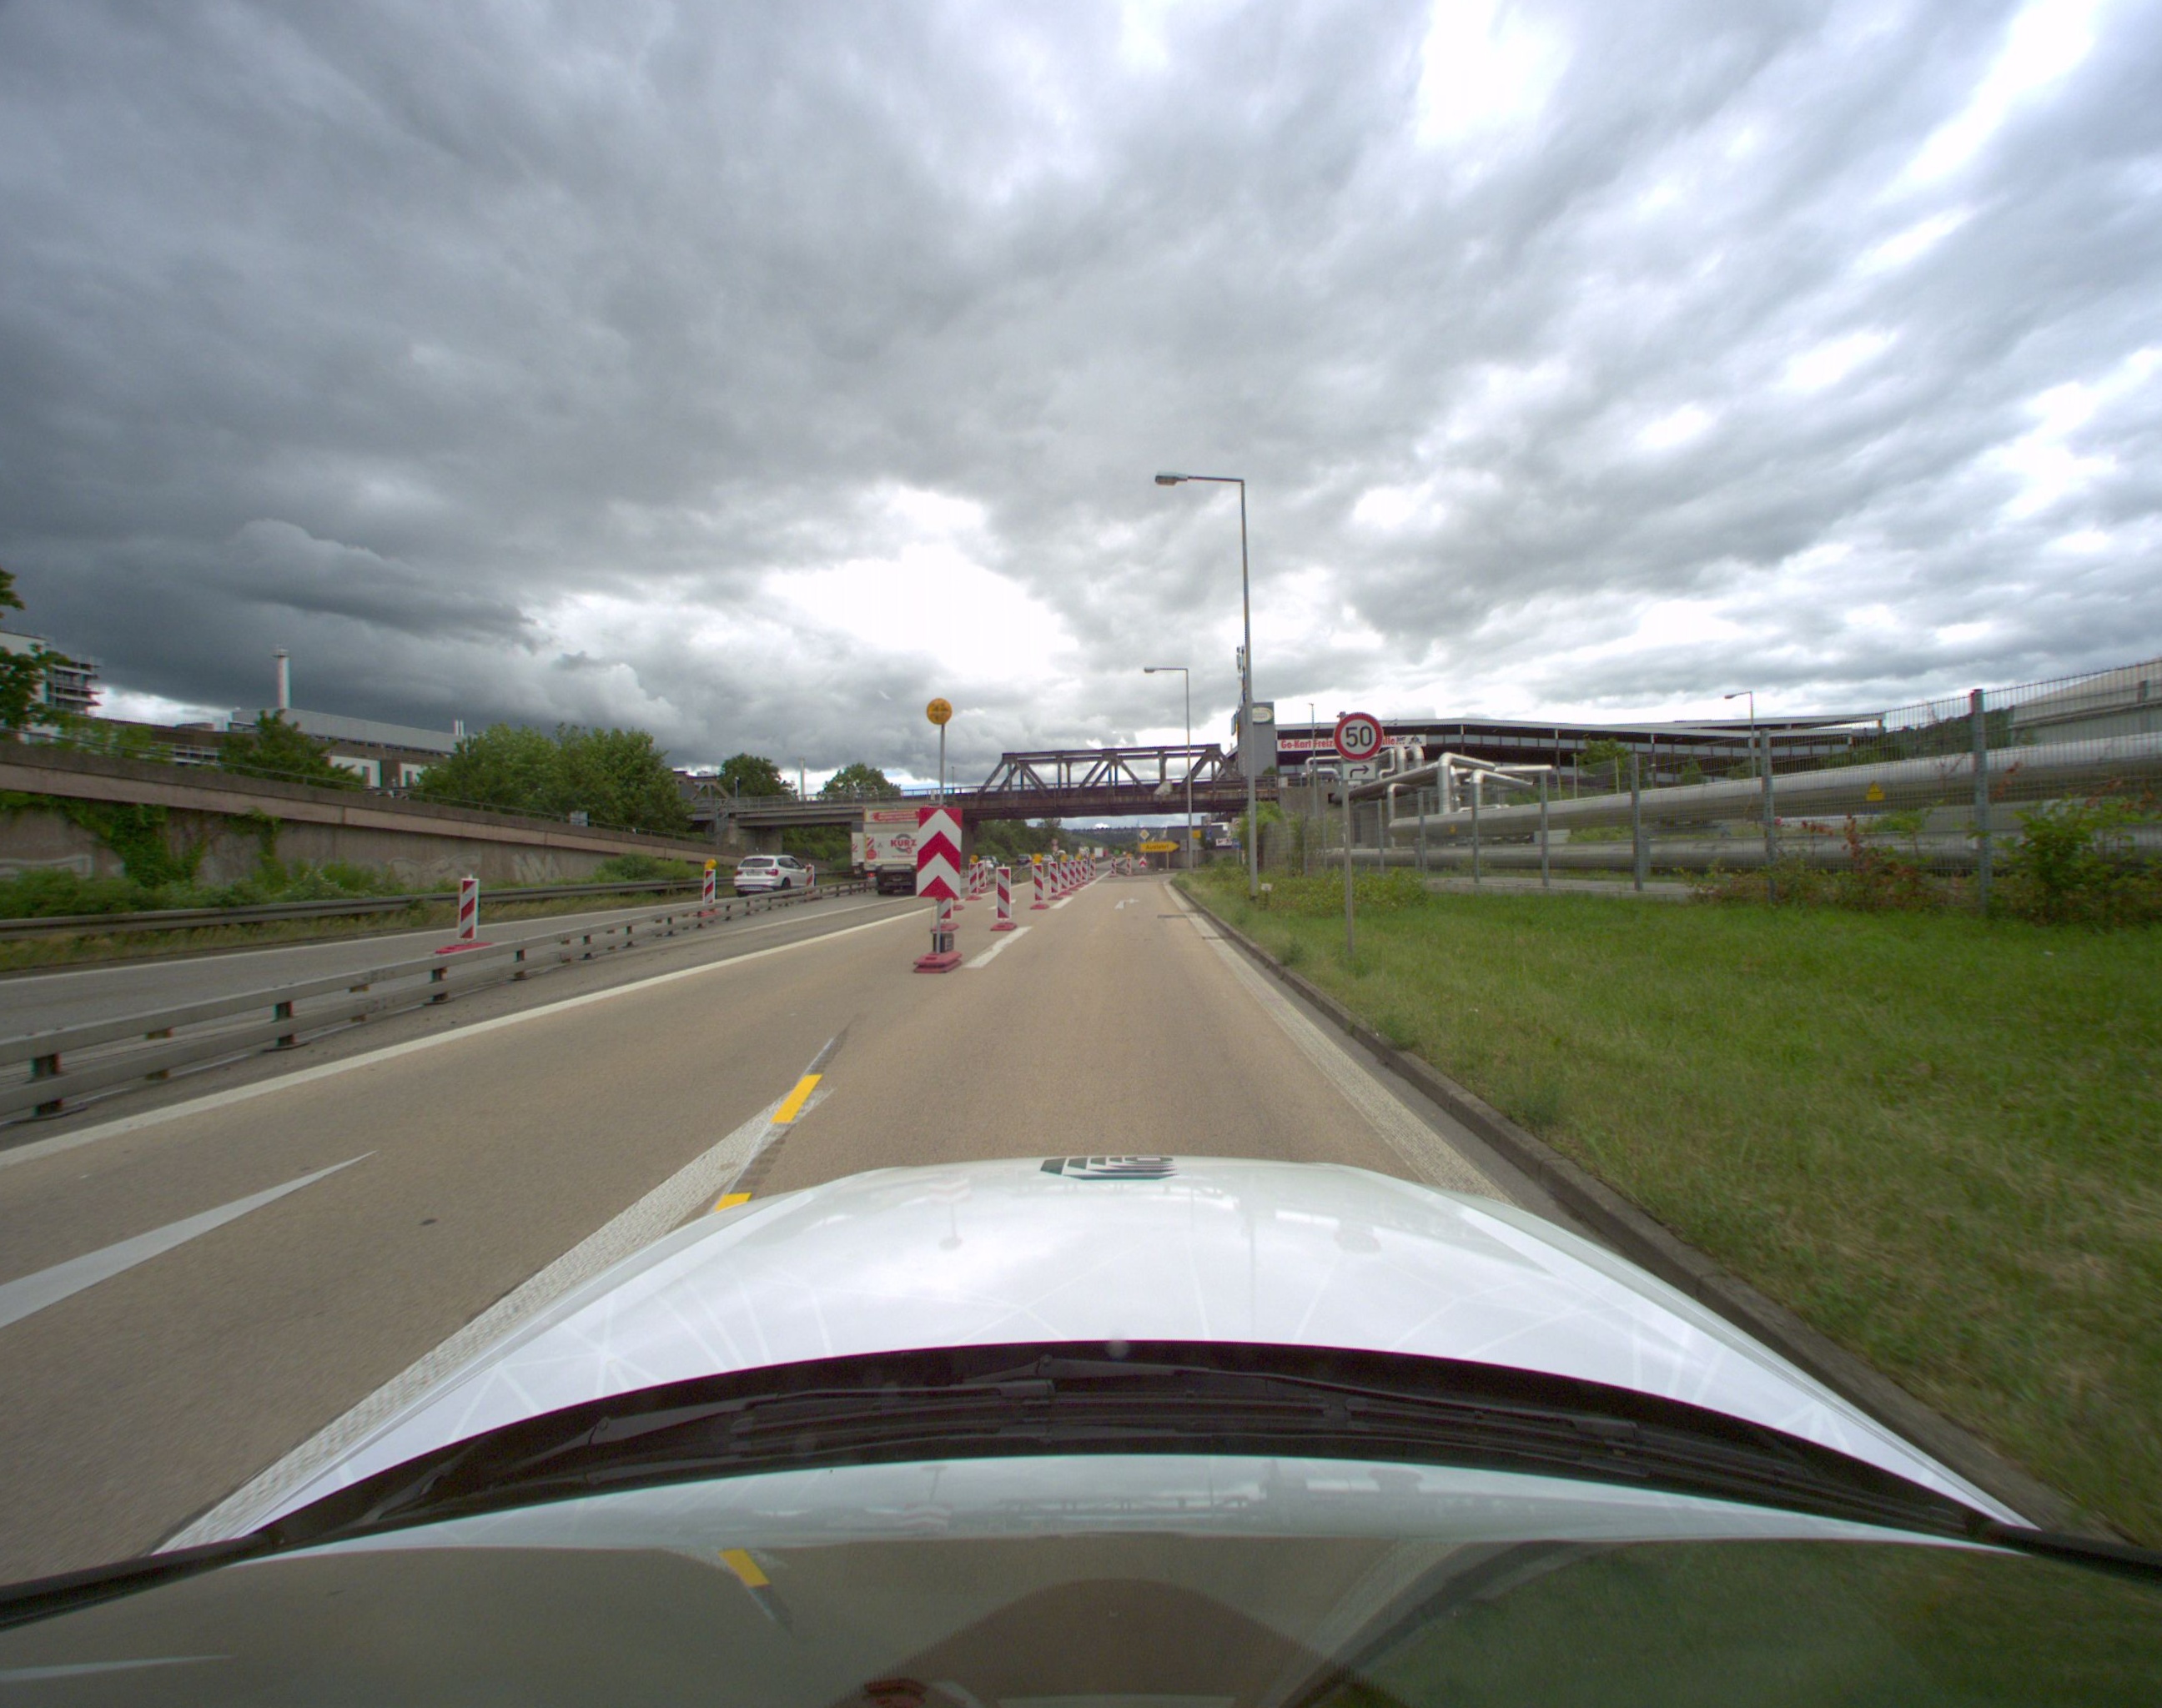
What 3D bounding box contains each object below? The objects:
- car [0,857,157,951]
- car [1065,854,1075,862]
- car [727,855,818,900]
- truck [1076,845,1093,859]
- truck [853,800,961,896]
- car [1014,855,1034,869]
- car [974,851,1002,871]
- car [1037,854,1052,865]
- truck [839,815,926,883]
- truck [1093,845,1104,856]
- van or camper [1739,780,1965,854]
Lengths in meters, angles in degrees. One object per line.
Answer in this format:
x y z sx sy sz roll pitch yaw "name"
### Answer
-19.895 0.890 14.500 1.846 1.640 4.295 -1 0 3 "car"
-2.362 0.921 172.347 1.771 1.596 3.754 -1 0 4 "car"
-12.206 0.894 32.544 1.846 1.640 4.294 -1 -1 3 "car"
0.965 -0.581 215.040 3.703 3.645 7.737 -1 0 4 "truck"
-7.454 -0.178 36.444 2.946 3.629 10.145 -1 -1 -2 "truck"
-7.330 1.058 104.750 1.985 1.759 4.002 -2 -1 3 "car"
-9.117 0.691 80.015 1.985 1.759 4.003 -2 -1 3 "car"
-5.849 0.896 131.516 1.985 1.816 4.003 -1 0 3 "car"
-11.362 -0.216 47.533 2.984 3.556 7.741 -2 -1 1 "truck"
5.089 -0.884 235.482 2.669 3.140 6.139 0 0 4 "truck"
30.571 -1.401 32.563 6.067 2.548 2.584 -2 -1 11 "van or camper"
